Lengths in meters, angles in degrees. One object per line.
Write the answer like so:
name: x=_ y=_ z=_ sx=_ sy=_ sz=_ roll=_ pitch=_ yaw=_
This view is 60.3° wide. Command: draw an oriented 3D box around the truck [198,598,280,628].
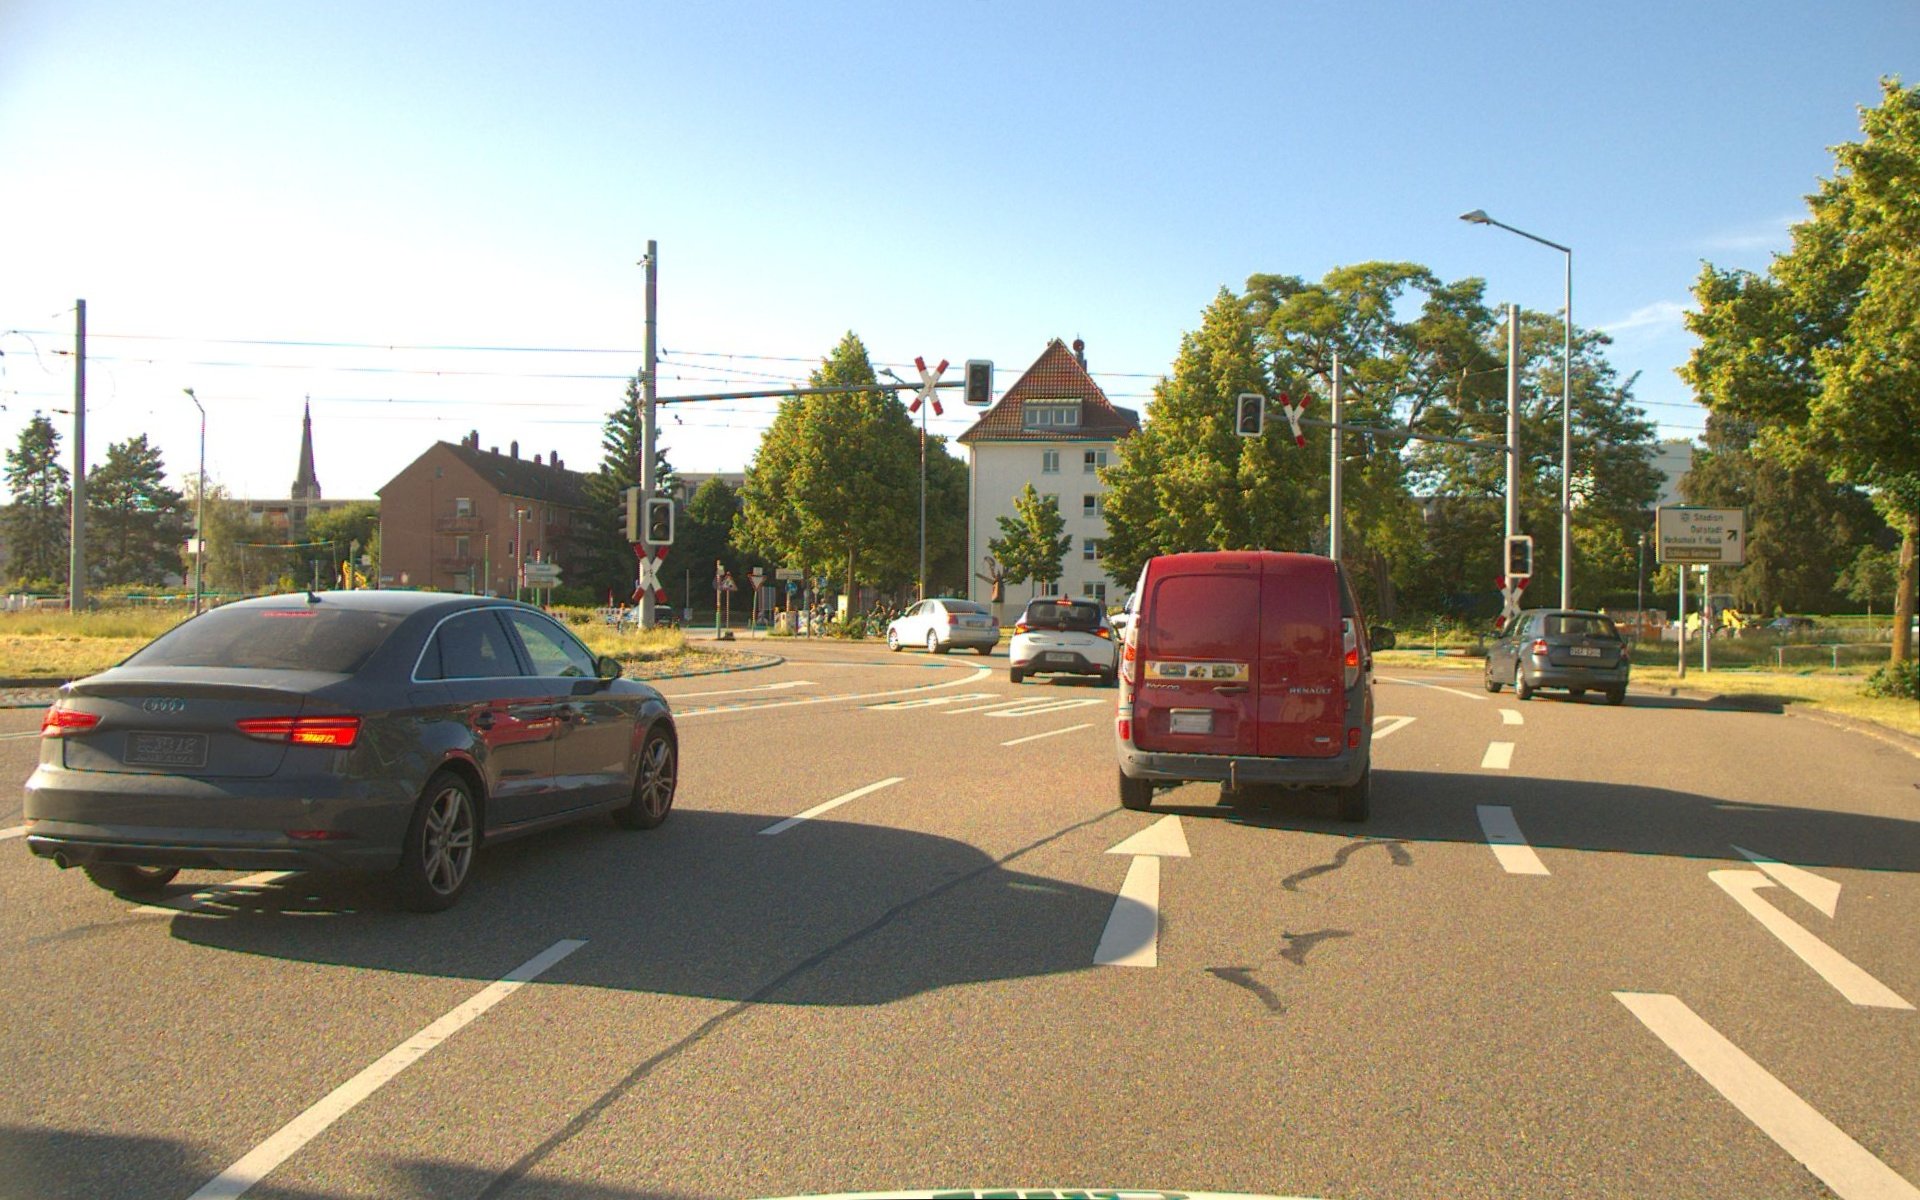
truck: x=-52.872 y=0.928 z=121.190 sx=6.296 sy=2.049 sz=2.167 roll=0 pitch=-2 yaw=30

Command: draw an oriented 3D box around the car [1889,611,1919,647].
car: x=50.446 y=1.550 z=86.422 sx=1.951 sy=1.753 sz=4.002 roll=1 pitch=-2 yaw=7

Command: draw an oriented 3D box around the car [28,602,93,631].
car: x=-68.242 y=1.266 z=125.455 sx=4.394 sy=2.049 sz=1.999 roll=1 pitch=-2 yaw=23

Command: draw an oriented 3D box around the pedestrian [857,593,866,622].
pedestrian: x=-6.982 y=0.524 z=117.017 sx=0.460 sy=2.049 sz=0.455 roll=0 pitch=-1 yaw=16

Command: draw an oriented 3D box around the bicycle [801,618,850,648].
bicycle: x=-6.160 y=1.501 z=75.765 sx=2.164 sy=1.288 sz=0.881 roll=0 pitch=-3 yaw=35

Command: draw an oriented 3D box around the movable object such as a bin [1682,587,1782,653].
movable object such as a bin: x=35.222 y=0.976 z=75.572 sx=1.954 sy=2.838 sz=5.043 roll=2 pitch=-2 yaw=-4

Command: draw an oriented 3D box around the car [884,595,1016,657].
car: x=-0.337 y=0.674 z=45.438 sx=1.969 sy=1.602 sz=4.372 roll=1 pitch=0 yaw=-25

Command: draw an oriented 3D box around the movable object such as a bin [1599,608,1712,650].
movable object such as a bin: x=35.969 y=1.522 z=85.624 sx=4.903 sy=1.982 sz=2.239 roll=2 pitch=-2 yaw=-1

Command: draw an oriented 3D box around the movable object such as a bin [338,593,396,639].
movable object such as a bin: x=-38.692 y=1.059 z=107.853 sx=2.401 sy=2.822 sz=3.947 roll=3 pitch=-3 yaw=-37

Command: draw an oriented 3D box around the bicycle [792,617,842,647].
bicycle: x=-6.440 y=1.447 z=74.480 sx=2.164 sy=1.288 sz=0.881 roll=0 pitch=-3 yaw=35

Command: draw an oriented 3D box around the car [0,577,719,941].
car: x=-2.846 y=0.662 z=8.802 sx=1.722 sy=1.404 sz=4.362 roll=1 pitch=-1 yaw=11

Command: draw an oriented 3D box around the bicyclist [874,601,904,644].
bicyclist: x=-3.157 y=0.987 z=73.899 sx=1.003 sy=1.885 sz=0.810 roll=0 pitch=-3 yaw=30

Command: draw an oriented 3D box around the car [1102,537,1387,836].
car: x=2.280 y=0.531 z=12.526 sx=1.764 sy=1.845 sz=3.812 roll=2 pitch=1 yaw=14

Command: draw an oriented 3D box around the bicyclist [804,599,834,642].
bicyclist: x=-6.345 y=0.910 z=74.423 sx=1.005 sy=1.885 sz=0.882 roll=0 pitch=-3 yaw=34

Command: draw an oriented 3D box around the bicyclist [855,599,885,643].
bicyclist: x=-3.979 y=0.931 z=73.026 sx=1.003 sy=1.885 sz=0.810 roll=0 pitch=-3 yaw=30

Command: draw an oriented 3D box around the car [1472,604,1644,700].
car: x=9.863 y=0.803 z=27.578 sx=1.678 sy=1.461 sz=4.154 roll=1 pitch=0 yaw=5

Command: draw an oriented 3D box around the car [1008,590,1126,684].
car: x=1.921 y=0.633 z=28.649 sx=1.764 sy=1.487 sz=3.812 roll=1 pitch=-1 yaw=8

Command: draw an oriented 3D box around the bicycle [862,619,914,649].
bicycle: x=-3.221 y=1.522 z=73.895 sx=2.161 sy=1.288 sz=0.816 roll=0 pitch=-3 yaw=30

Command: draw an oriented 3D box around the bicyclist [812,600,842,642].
bicyclist: x=-6.074 y=0.966 z=75.744 sx=1.005 sy=1.885 sz=0.882 roll=0 pitch=-3 yaw=34

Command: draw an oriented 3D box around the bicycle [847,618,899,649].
bicycle: x=-3.846 y=1.468 z=72.915 sx=2.161 sy=1.288 sz=0.816 roll=0 pitch=-3 yaw=30

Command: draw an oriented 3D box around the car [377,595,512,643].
car: x=-18.702 y=0.666 z=60.075 sx=4.301 sy=1.668 sz=2.001 roll=1 pitch=0 yaw=18

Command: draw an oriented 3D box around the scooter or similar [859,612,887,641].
scooter or similar: x=-3.969 y=1.213 z=75.485 sx=1.237 sy=1.270 sz=0.444 roll=-1 pitch=-3 yaw=30
